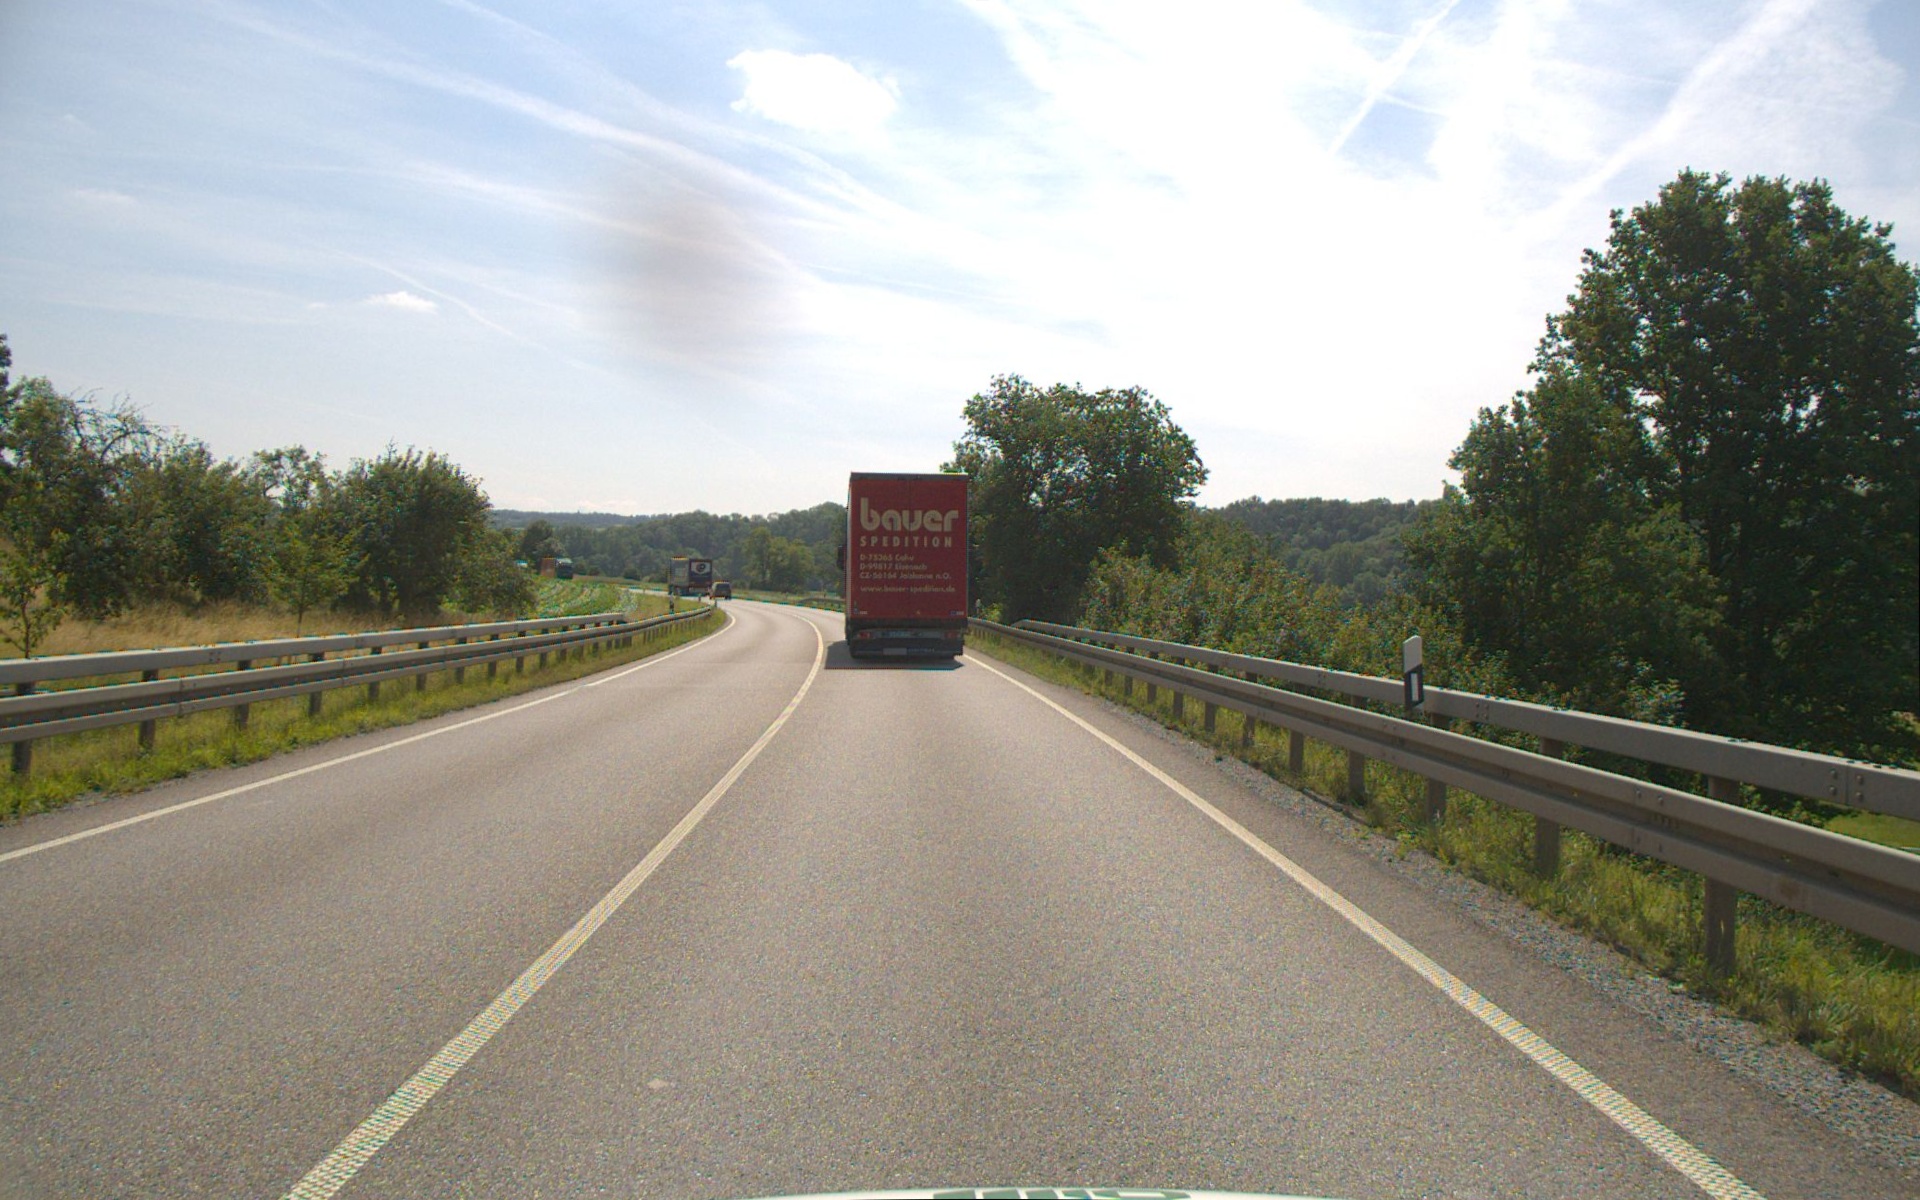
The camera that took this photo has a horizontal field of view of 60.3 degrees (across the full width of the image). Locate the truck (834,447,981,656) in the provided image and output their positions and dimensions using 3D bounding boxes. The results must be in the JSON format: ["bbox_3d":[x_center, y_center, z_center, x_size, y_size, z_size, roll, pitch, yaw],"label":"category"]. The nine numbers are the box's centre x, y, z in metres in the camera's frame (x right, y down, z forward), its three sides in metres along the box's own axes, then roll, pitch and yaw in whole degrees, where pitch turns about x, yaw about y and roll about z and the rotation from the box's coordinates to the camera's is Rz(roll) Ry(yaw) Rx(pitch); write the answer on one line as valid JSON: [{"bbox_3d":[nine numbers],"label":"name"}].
[{"bbox_3d":[-1.266,-1.034,38.630,3.032,4.337,8.310,0,0,-3],"label":"truck"}]

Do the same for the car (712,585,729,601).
[{"bbox_3d":[-23.236,-0.694,160.822,1.552,1.527,3.870,1,1,-8],"label":"car"}]

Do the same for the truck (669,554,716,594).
[{"bbox_3d":[-29.902,-2.815,184.431,3.583,4.367,11.927,0,0,-17],"label":"truck"}]
